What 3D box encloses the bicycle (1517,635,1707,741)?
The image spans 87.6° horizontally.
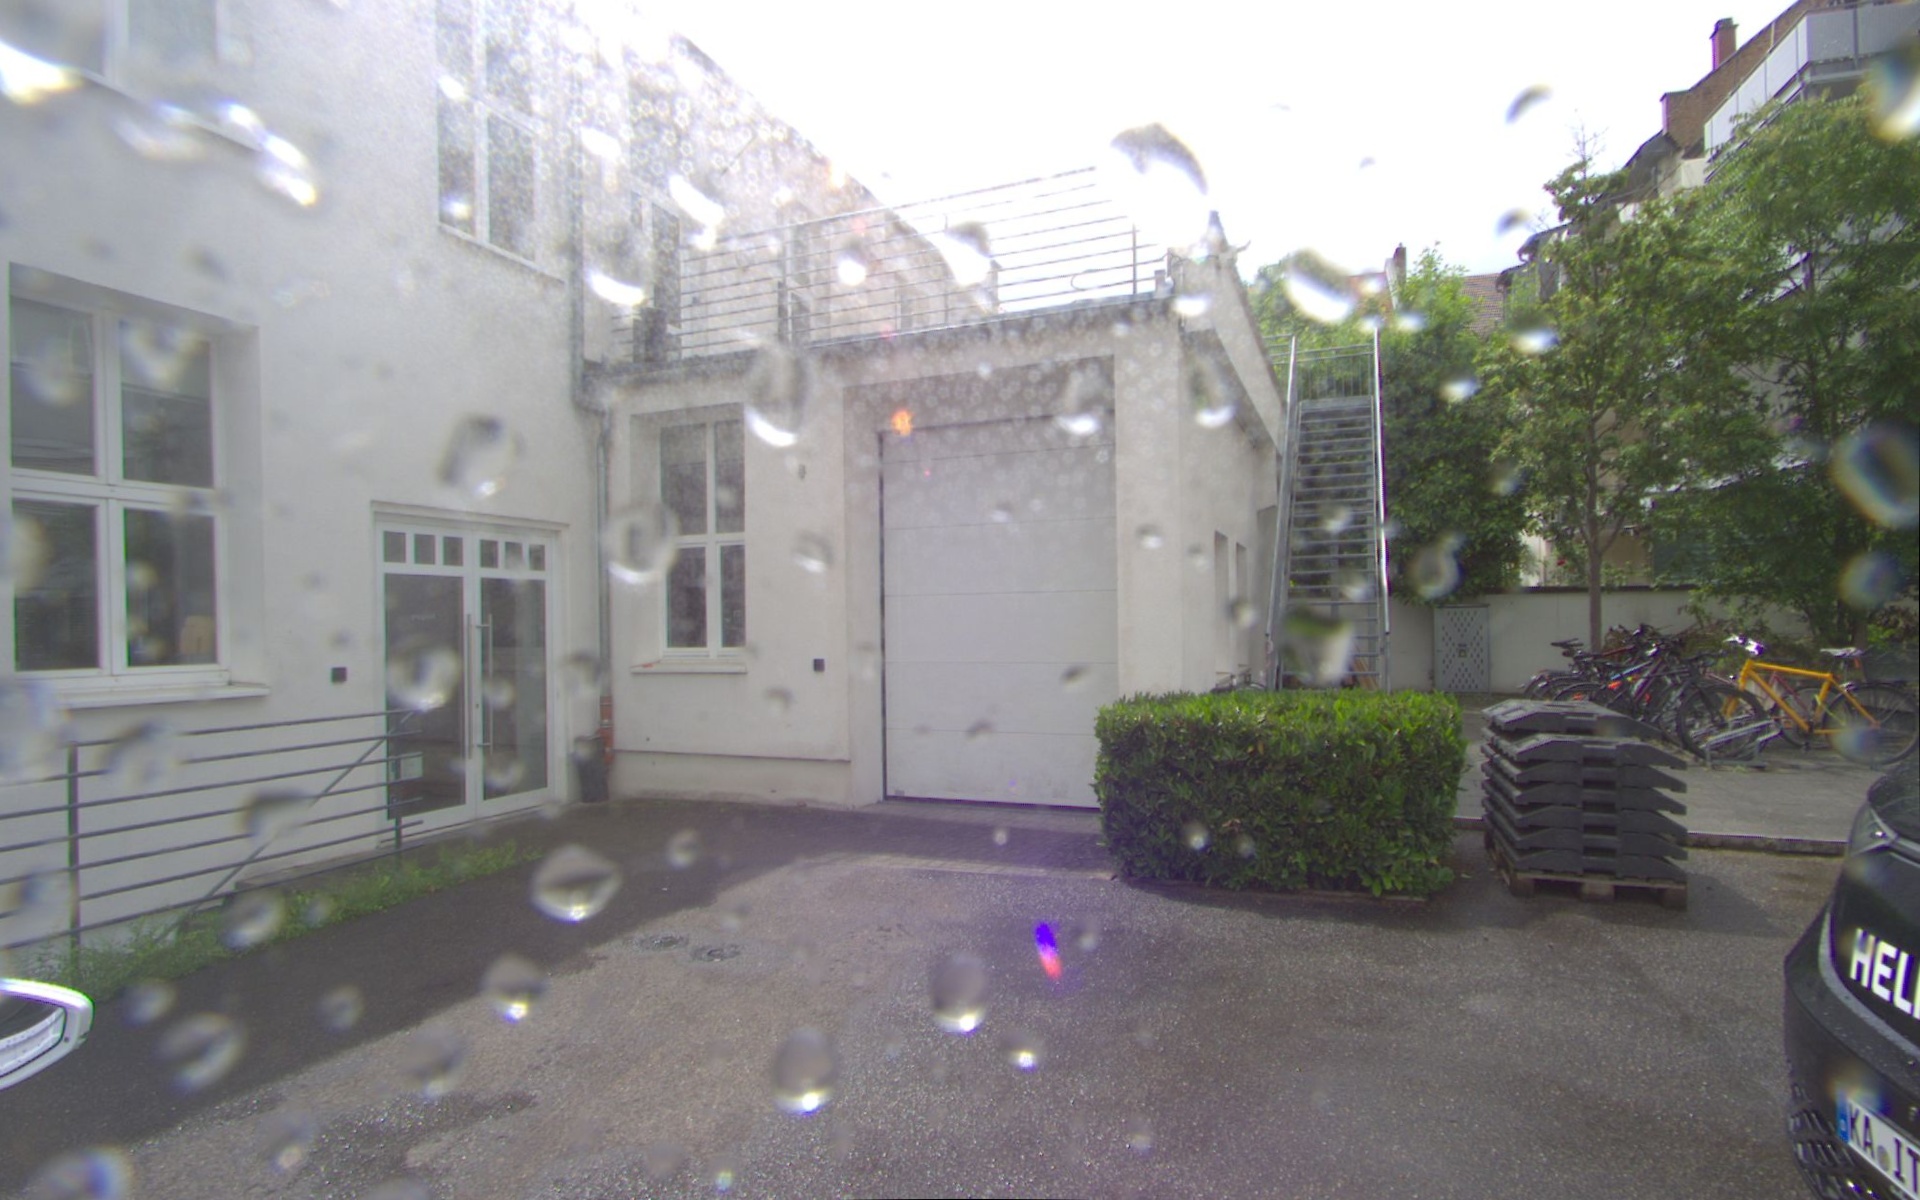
[{"bbox_3d":[7.168,0.957,11.060,1.724,1.118,0.342,-1,0,16],"label":"bicycle"}]

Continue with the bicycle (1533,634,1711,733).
[{"bbox_3d":[7.830,0.975,11.892,1.724,1.118,0.354,-1,0,16],"label":"bicycle"}]

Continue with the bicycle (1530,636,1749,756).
[{"bbox_3d":[6.708,0.927,9.969,1.767,1.118,0.353,-1,0,24],"label":"bicycle"}]

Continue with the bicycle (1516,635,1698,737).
[{"bbox_3d":[7.386,0.967,11.488,1.724,1.118,0.345,-1,0,16],"label":"bicycle"}]

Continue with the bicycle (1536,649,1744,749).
[{"bbox_3d":[7.002,1.006,10.374,1.764,0.980,0.329,-1,0,16],"label":"bicycle"}]

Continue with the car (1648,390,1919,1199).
[{"bbox_3d":[3.910,0.513,1.171,4.661,1.888,1.969,-2,-1,15],"label":"car"}]

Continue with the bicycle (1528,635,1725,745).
[{"bbox_3d":[7.084,0.947,10.707,1.724,1.118,0.332,-1,0,16],"label":"bicycle"}]

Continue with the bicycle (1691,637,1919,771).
[{"bbox_3d":[7.577,0.893,8.843,1.767,1.118,0.366,-1,0,24],"label":"bicycle"}]

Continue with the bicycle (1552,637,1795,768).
[{"bbox_3d":[6.482,0.906,9.191,1.767,1.118,0.404,-1,0,24],"label":"bicycle"}]
